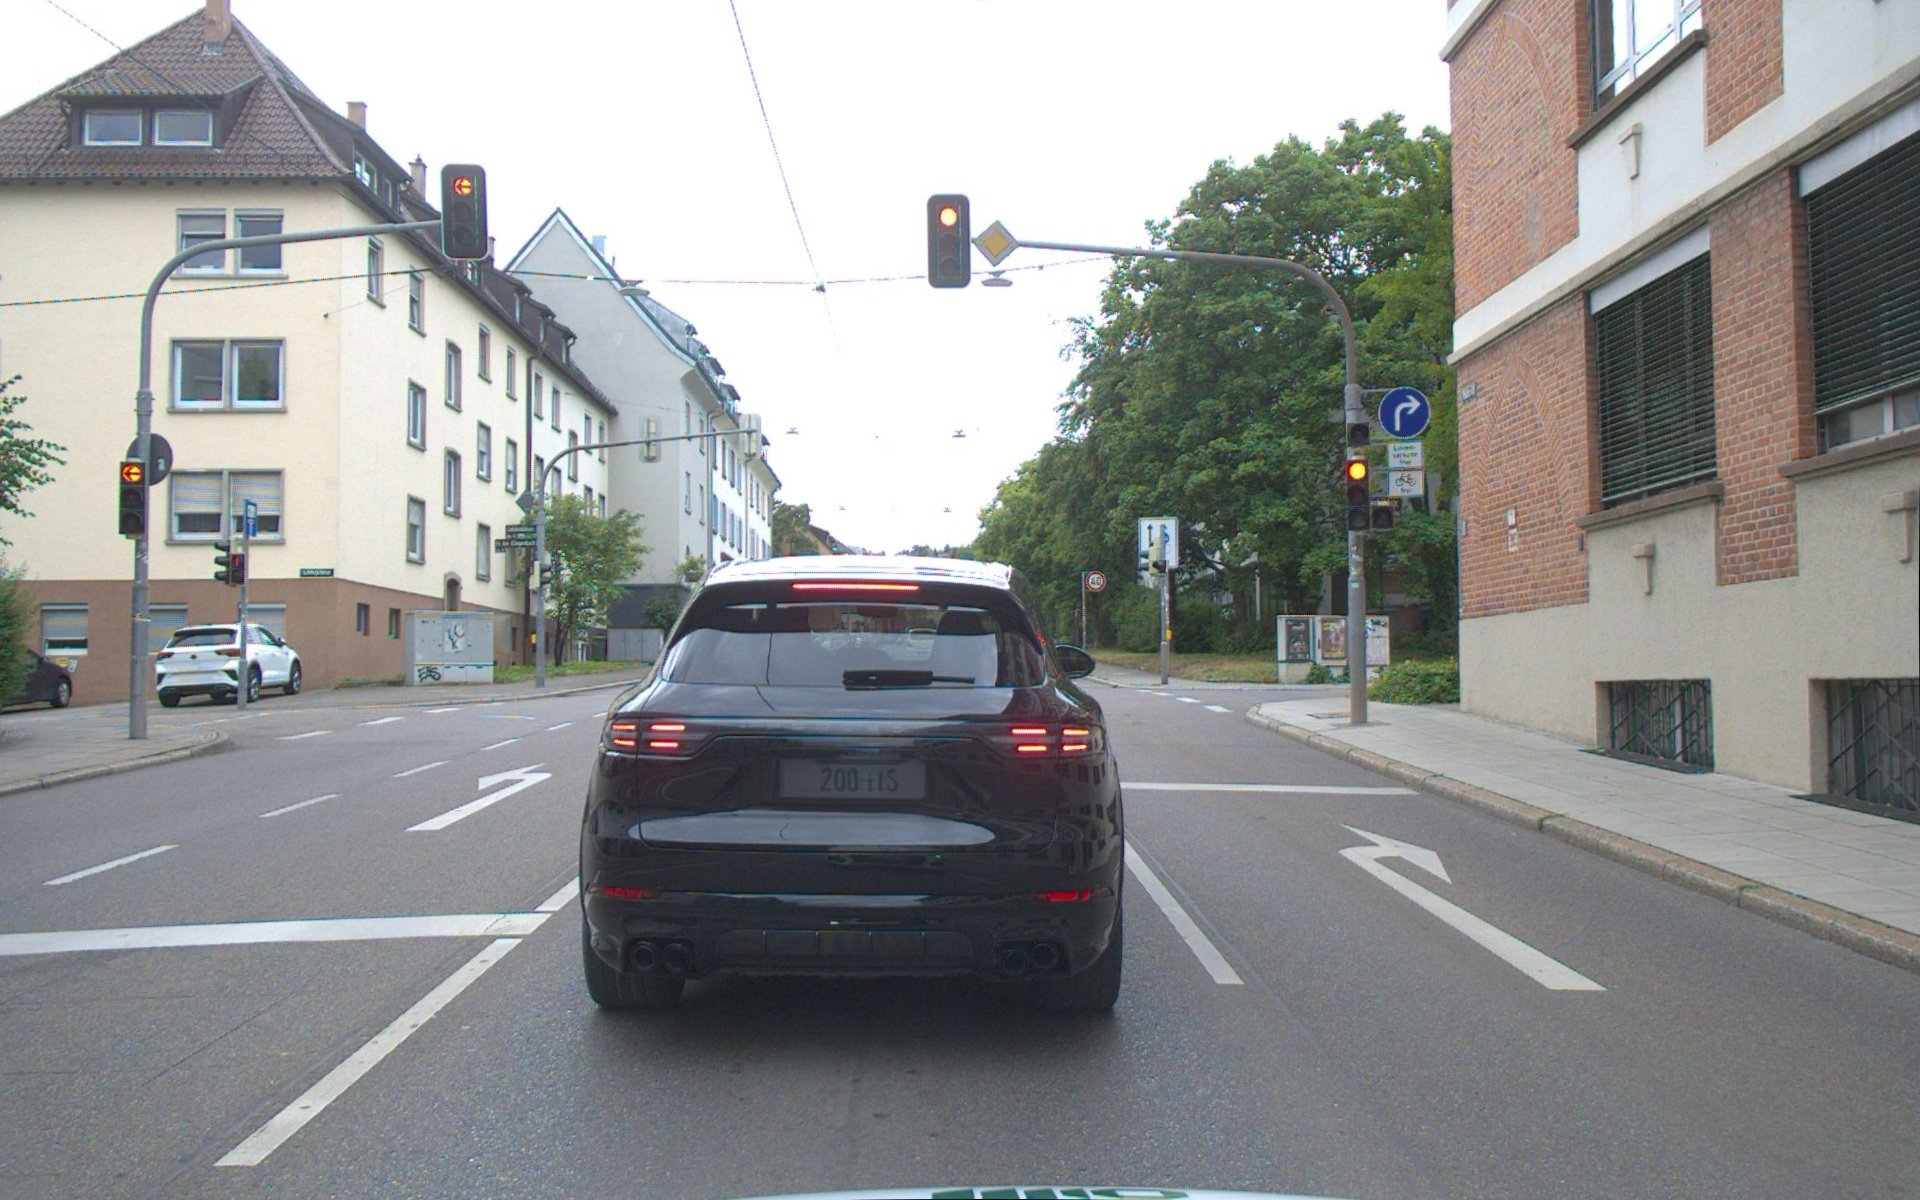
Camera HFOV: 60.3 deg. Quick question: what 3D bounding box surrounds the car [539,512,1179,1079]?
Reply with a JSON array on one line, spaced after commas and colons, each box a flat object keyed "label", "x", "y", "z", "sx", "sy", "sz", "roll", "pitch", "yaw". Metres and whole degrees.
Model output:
[{"label": "car", "x": -0.336, "y": 0.617, "z": 7.127, "sx": 1.953, "sy": 1.726, "sz": 3.999, "roll": 1, "pitch": 0, "yaw": -1}]

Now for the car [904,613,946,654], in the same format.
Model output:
[{"label": "car", "x": -1.466, "y": 1.348, "z": 68.003, "sx": 1.654, "sy": 1.579, "sz": 3.887, "roll": 1, "pitch": 0, "yaw": -2}]

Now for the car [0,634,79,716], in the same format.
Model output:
[{"label": "car", "x": -19.761, "y": 1.547, "z": 33.479, "sx": 1.636, "sy": 1.573, "sz": 4.100, "roll": -3, "pitch": 0, "yaw": -1}]

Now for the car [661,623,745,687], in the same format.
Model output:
[{"label": "car", "x": -7.011, "y": 1.462, "z": 45.399, "sx": 1.630, "sy": 1.545, "sz": 3.739, "roll": -4, "pitch": 0, "yaw": 0}]

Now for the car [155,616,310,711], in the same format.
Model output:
[{"label": "car", "x": -14.720, "y": 1.233, "z": 33.699, "sx": 1.638, "sy": 1.691, "sz": 3.995, "roll": -3, "pitch": 0, "yaw": -5}]

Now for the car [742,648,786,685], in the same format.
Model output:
[{"label": "car", "x": -8.186, "y": 2.777, "z": 69.312, "sx": 1.637, "sy": 1.386, "sz": 3.997, "roll": 0, "pitch": 0, "yaw": -4}]
